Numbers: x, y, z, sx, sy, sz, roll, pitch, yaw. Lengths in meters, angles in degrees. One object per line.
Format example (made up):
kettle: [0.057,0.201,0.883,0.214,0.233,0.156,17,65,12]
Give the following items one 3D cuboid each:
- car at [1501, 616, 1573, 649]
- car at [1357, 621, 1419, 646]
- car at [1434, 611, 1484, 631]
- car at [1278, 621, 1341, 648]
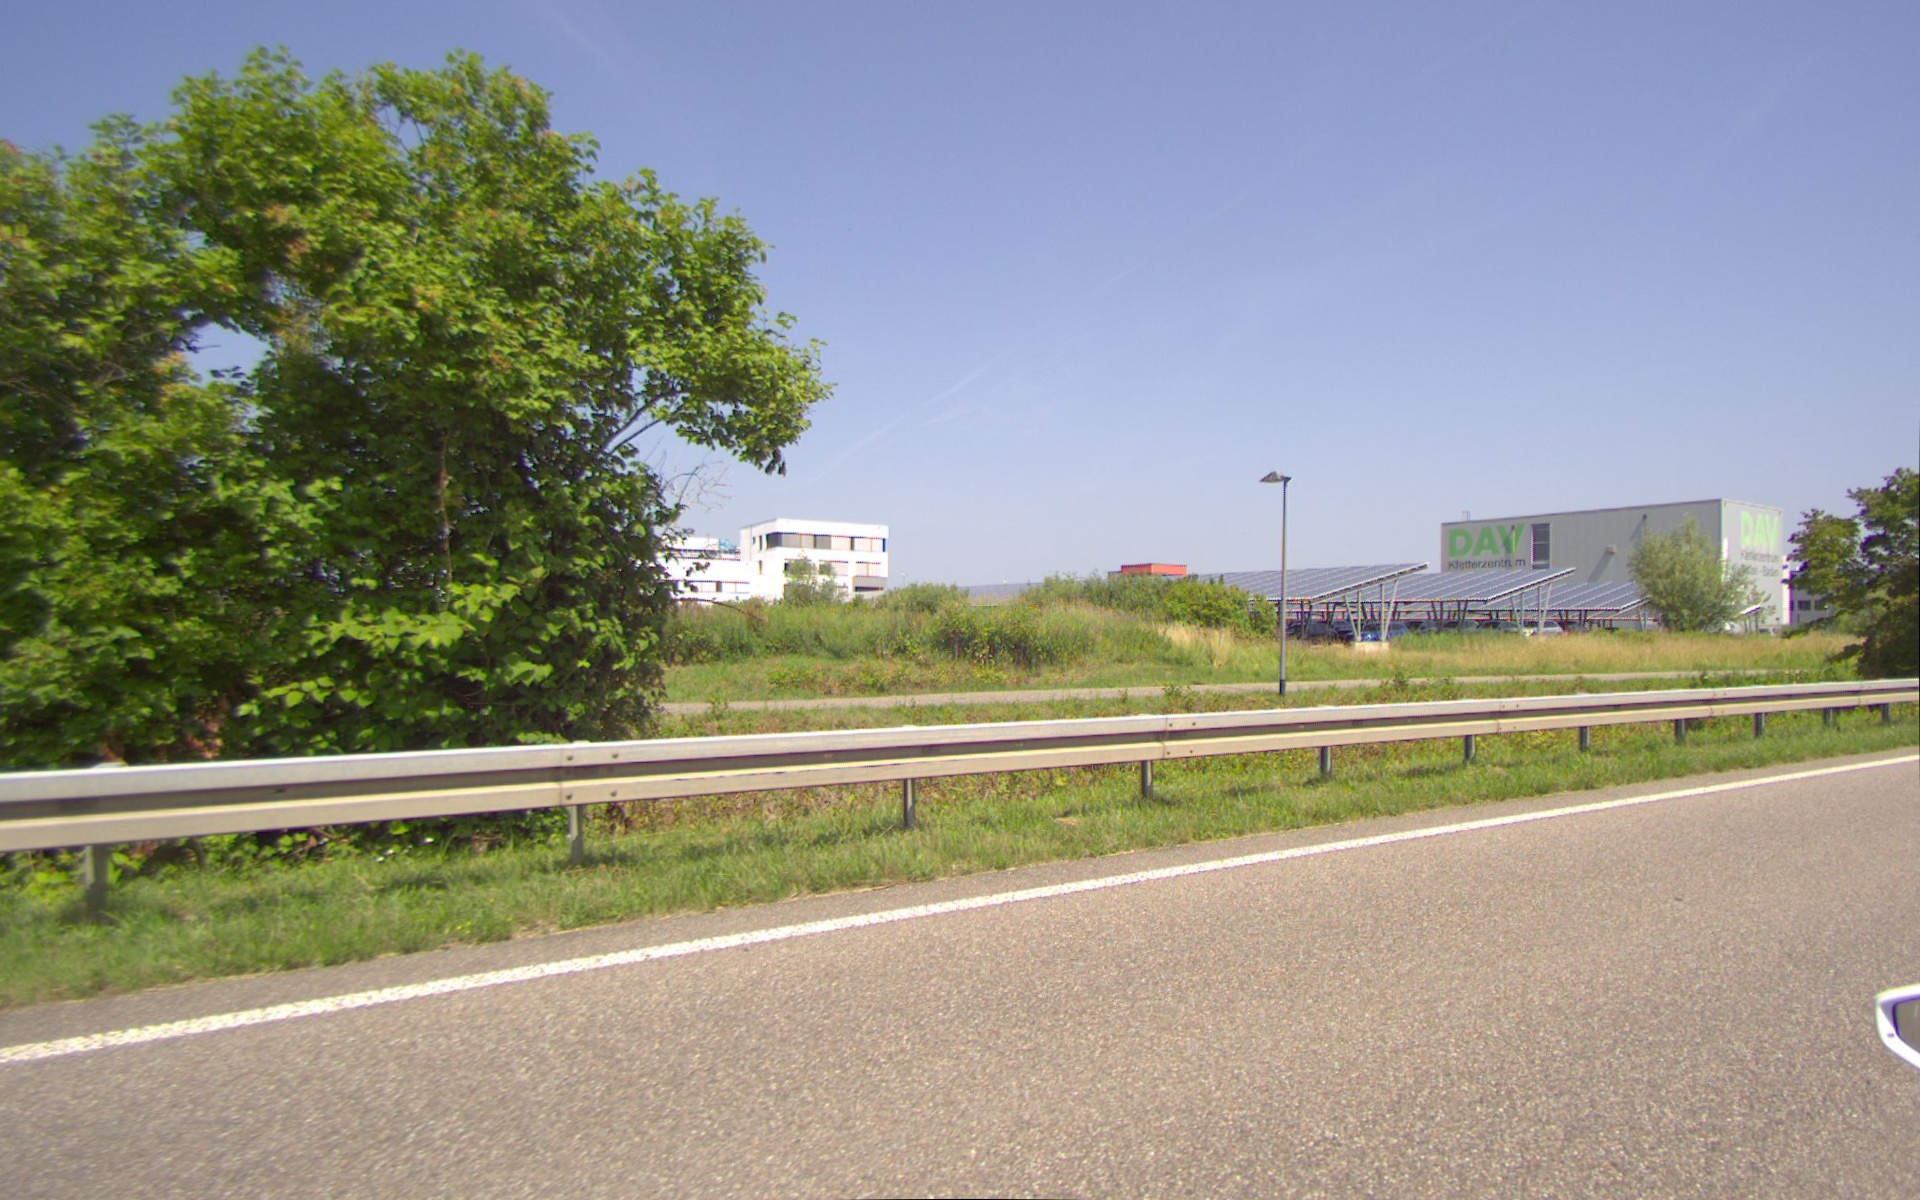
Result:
car: [36.708,2.074,63.894,4.463,2.040,1.984,1,-1,-30]
car: [23.623,1.863,55.413,3.328,1.308,1.609,1,-1,-33]
car: [33.718,1.411,67.833,3.328,1.308,1.609,1,-1,-33]
car: [25.176,2.511,72.286,4.212,1.828,1.984,1,0,-30]
